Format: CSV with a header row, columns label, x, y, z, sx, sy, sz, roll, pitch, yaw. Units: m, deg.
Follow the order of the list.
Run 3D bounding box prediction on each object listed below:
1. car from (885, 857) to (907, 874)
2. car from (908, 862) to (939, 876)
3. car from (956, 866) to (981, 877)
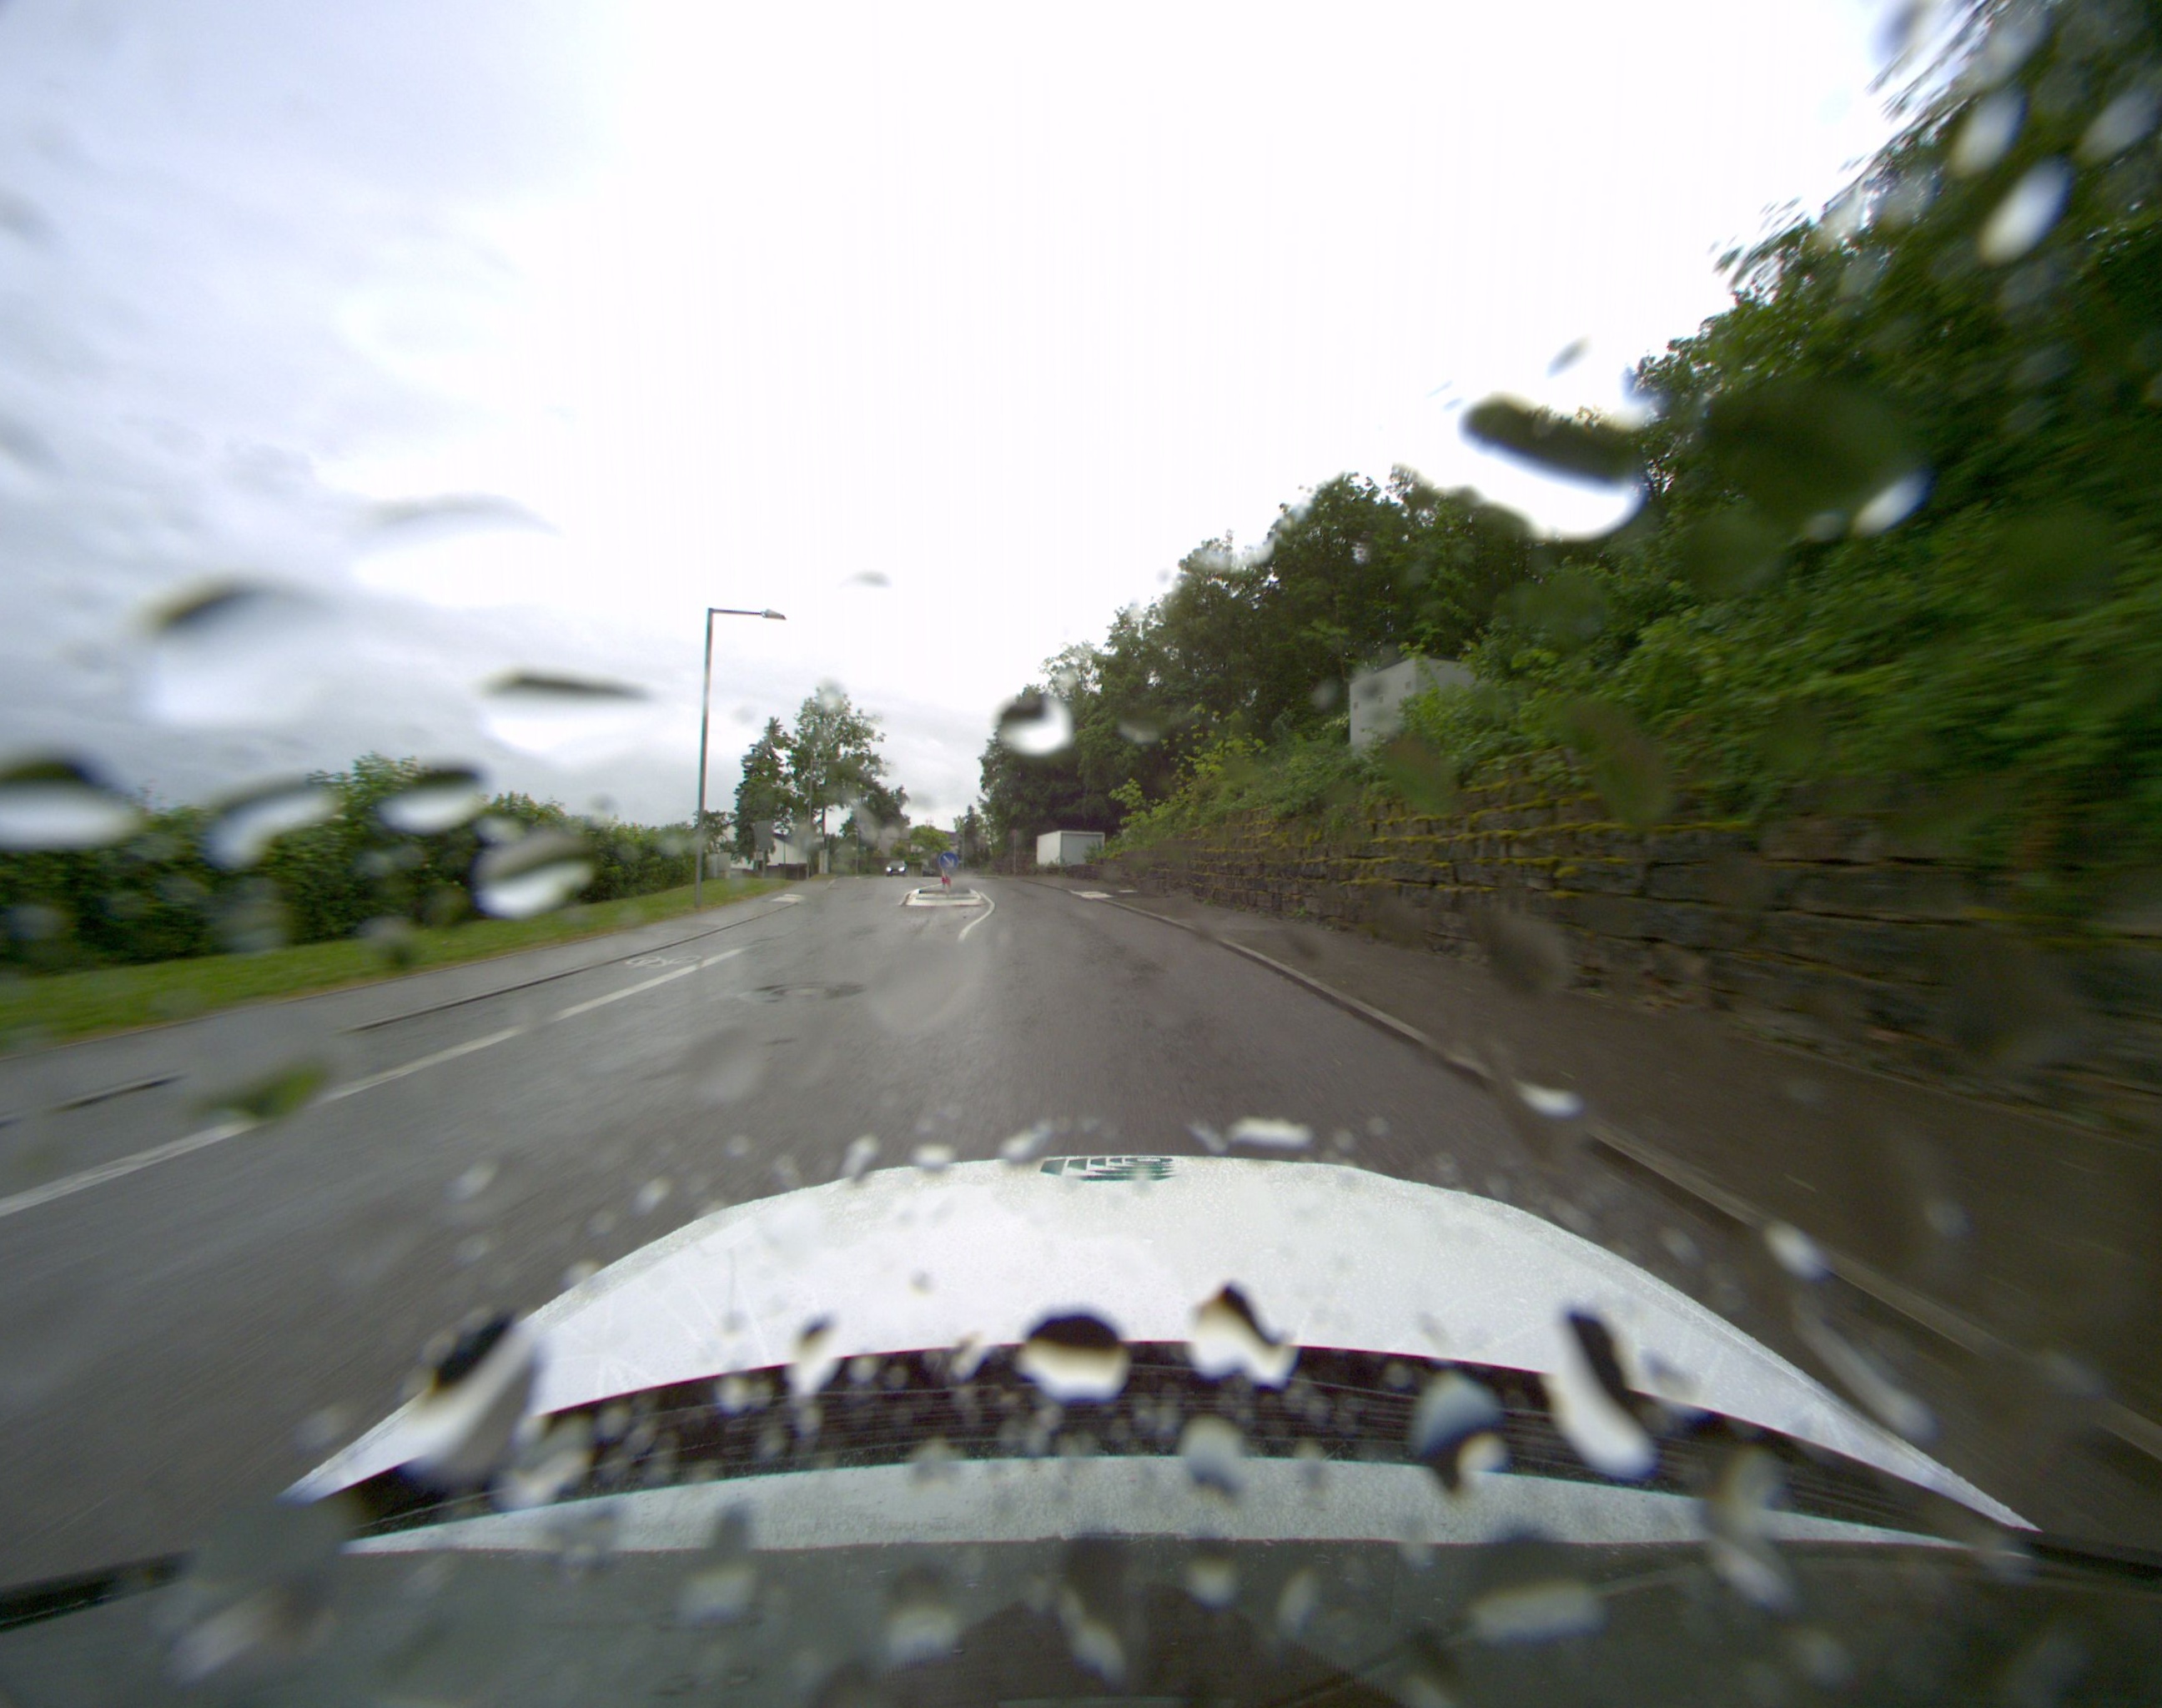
label,x,y,z,sx,sy,sz,roll,pitch,yaw
car,-17.593,1.088,77.200,1.835,1.520,4.602,-1,-1,-16
car,-20.859,1.990,107.794,3.949,1.632,2.026,1,-2,41
car,-16.116,2.453,116.576,1.948,1.389,3.957,5,-3,-35
